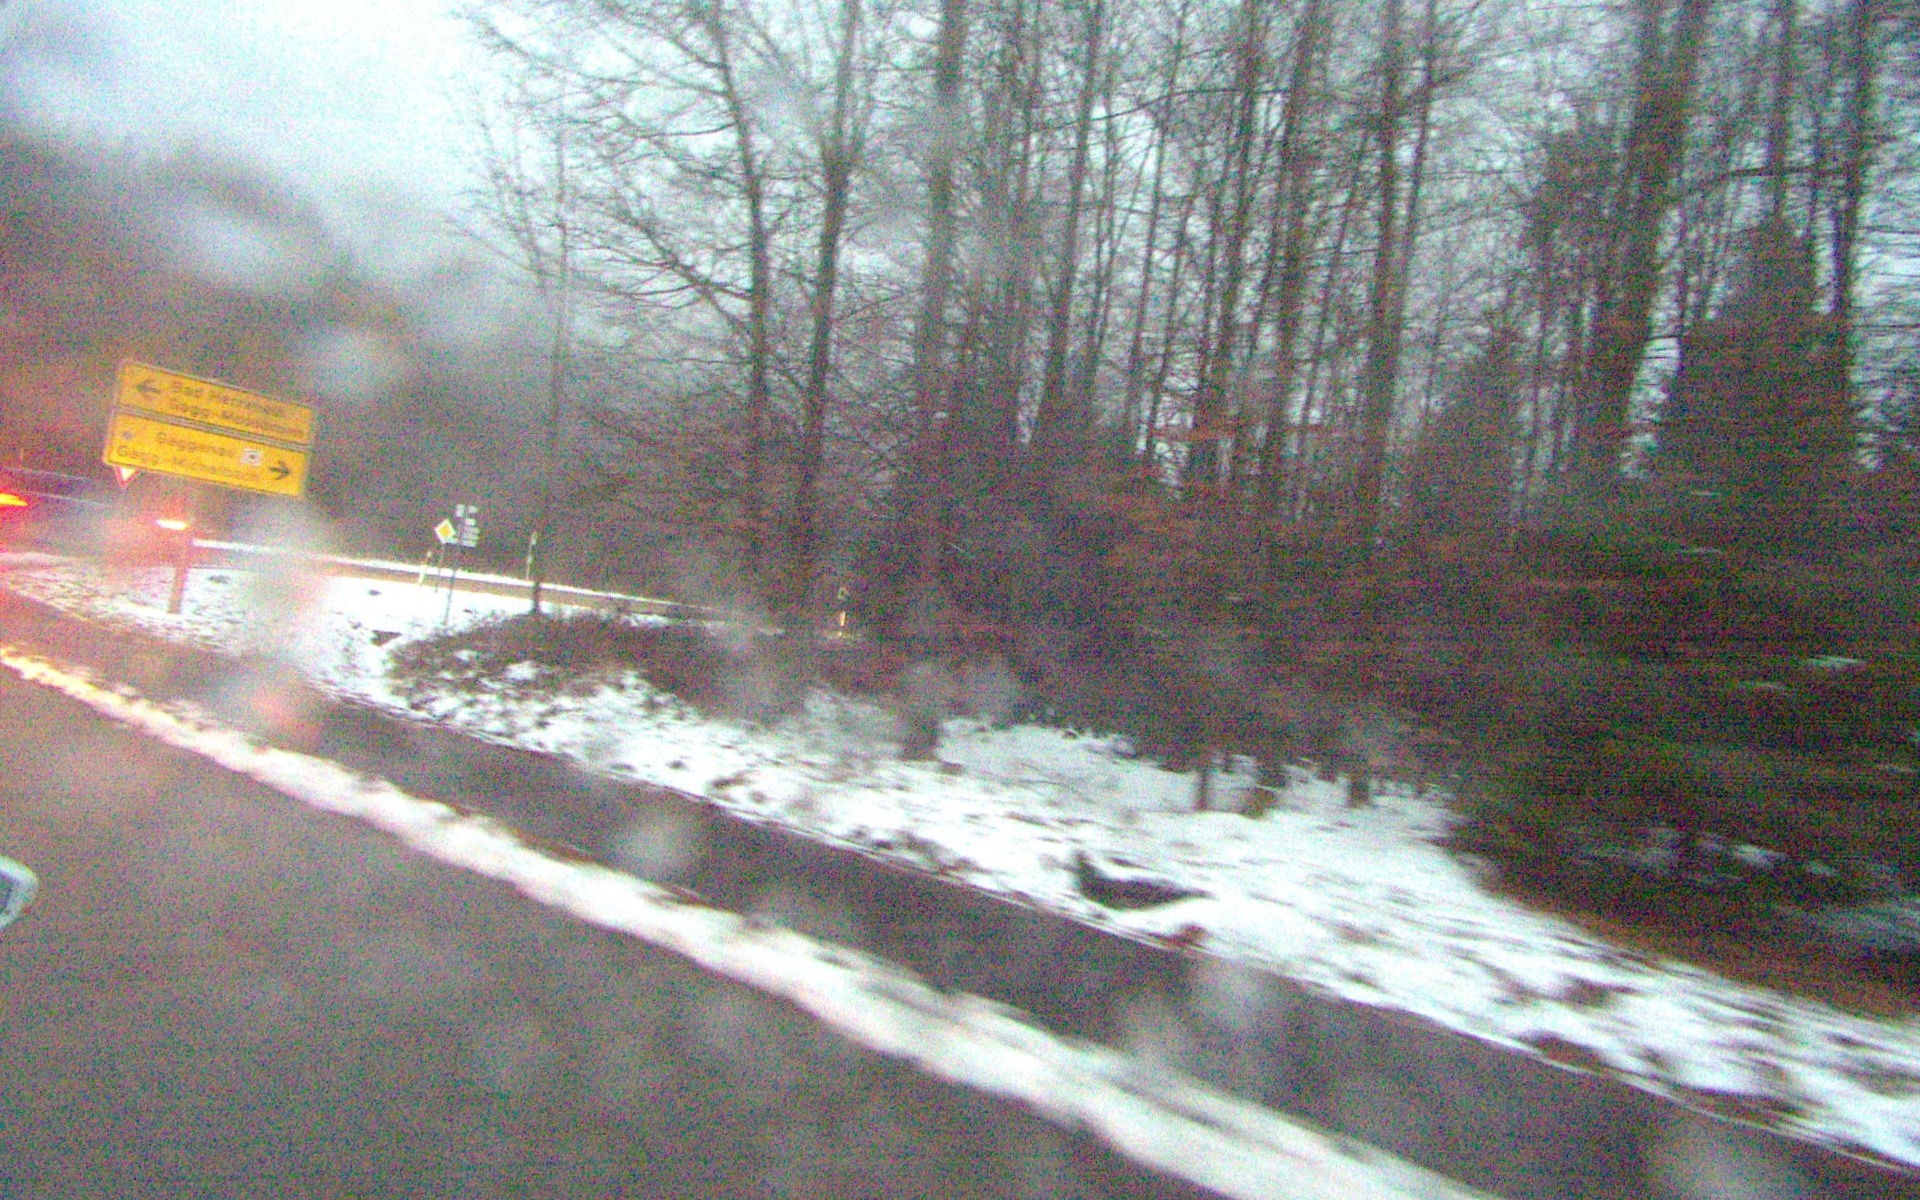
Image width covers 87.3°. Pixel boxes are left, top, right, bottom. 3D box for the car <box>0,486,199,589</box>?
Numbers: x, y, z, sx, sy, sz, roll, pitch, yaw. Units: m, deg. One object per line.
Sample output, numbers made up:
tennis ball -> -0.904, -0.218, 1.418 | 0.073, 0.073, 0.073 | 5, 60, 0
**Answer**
car -> -22.706, -1.603, 25.634 | 1.654, 1.967, 5.026 | 7, -3, 20
